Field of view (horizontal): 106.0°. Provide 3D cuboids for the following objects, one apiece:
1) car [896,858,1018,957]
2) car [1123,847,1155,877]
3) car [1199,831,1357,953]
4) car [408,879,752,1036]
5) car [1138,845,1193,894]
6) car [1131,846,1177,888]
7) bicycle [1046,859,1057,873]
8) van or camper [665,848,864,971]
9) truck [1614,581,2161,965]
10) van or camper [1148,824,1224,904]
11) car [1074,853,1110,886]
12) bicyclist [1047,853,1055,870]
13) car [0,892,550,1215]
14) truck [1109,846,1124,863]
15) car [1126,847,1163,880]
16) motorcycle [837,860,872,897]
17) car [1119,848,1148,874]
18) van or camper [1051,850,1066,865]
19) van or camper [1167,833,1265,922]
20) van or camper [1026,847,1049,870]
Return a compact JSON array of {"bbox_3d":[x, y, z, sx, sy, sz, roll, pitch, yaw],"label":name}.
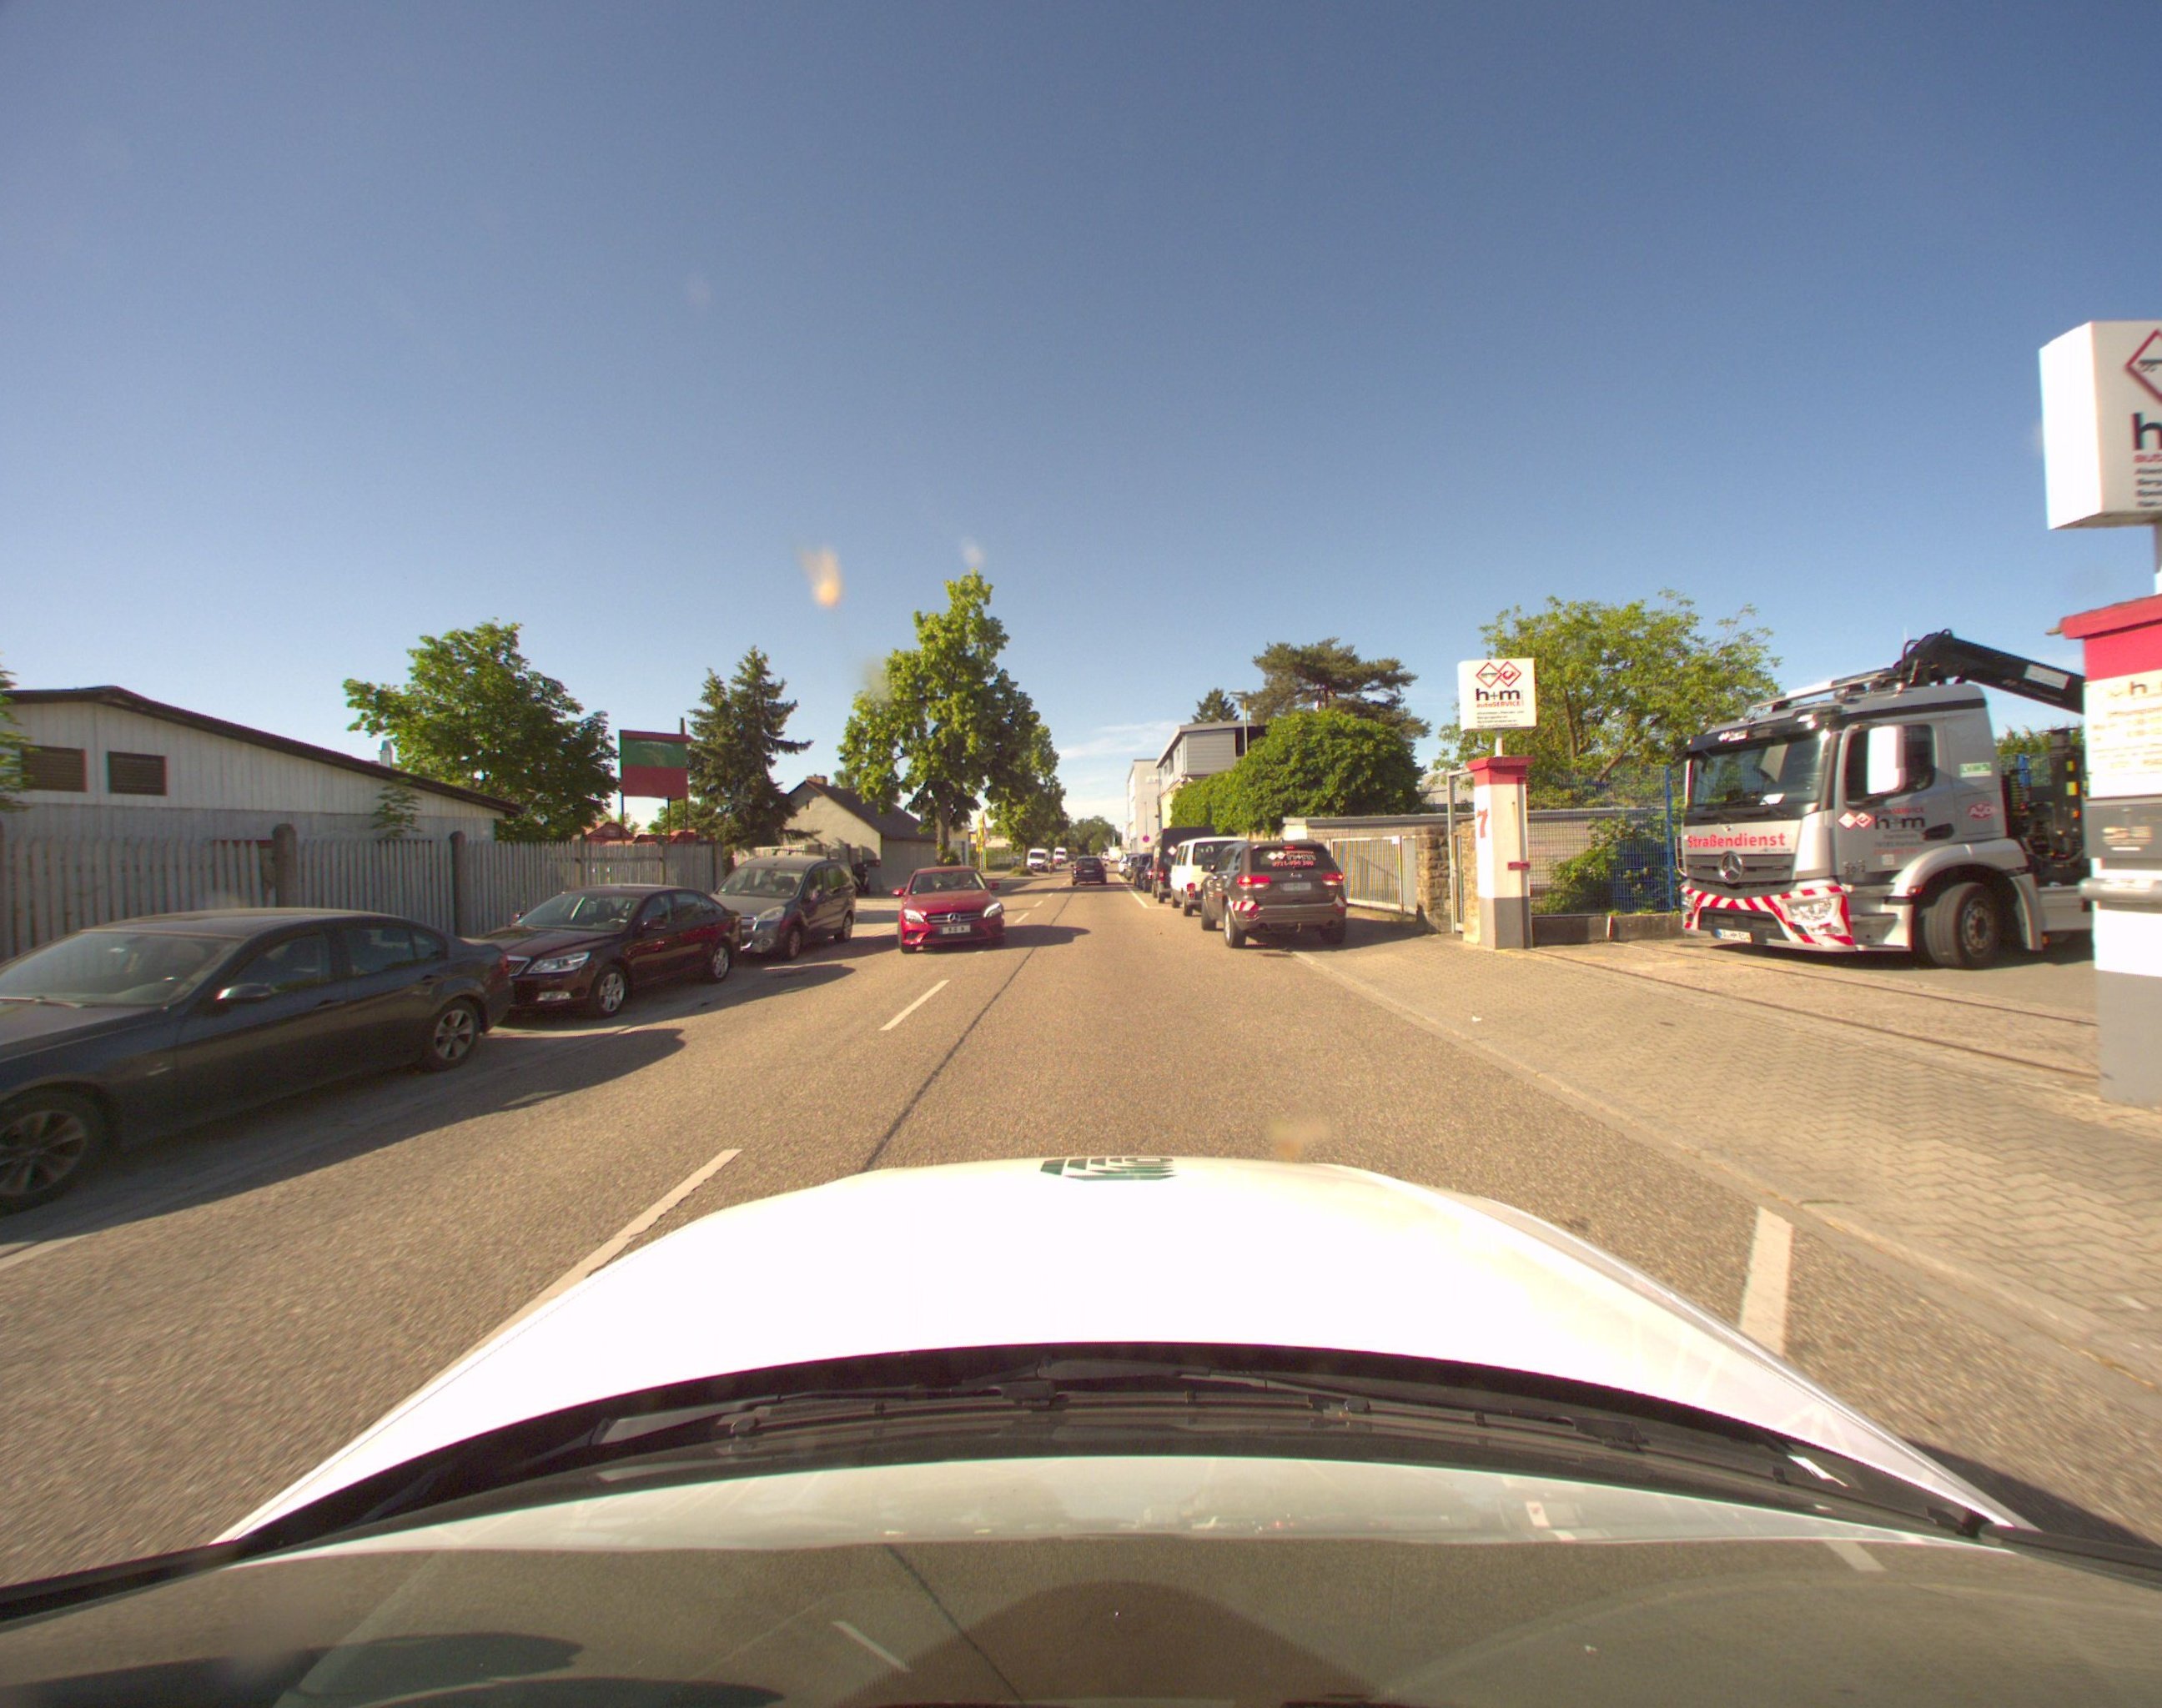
[{"bbox_3d":[-2.485,0.889,15.480,1.878,1.485,4.025,-3,1,-14],"label":"car"},{"bbox_3d":[3.787,0.476,53.564,1.912,1.825,4.081,-2,0,2],"label":"car"},{"bbox_3d":[3.337,0.584,14.636,1.912,1.825,4.081,-2,0,2],"label":"car"},{"bbox_3d":[-6.153,1.164,10.702,1.687,1.469,4.177,-2,0,4],"label":"car"},{"bbox_3d":[3.406,0.597,33.509,1.912,1.825,4.081,-2,0,2],"label":"car"},{"bbox_3d":[3.413,0.578,38.701,1.912,1.825,4.081,-2,0,2],"label":"car"},{"bbox_3d":[-2.687,1.076,74.263,0.826,1.153,2.940,-2,0,0],"label":"bicycle"},{"bbox_3d":[-5.784,0.929,15.535,1.883,1.926,4.269,-3,-1,2],"label":"van or camper"},{"bbox_3d":[10.940,-0.903,9.718,7.357,3.770,2.830,-2,0,-3],"label":"truck"},{"bbox_3d":[3.298,0.296,26.278,1.986,2.310,4.001,-2,0,2],"label":"van or camper"},{"bbox_3d":[0.607,0.756,41.988,1.705,1.532,3.690,-2,0,2],"label":"car"},{"bbox_3d":[-2.706,0.699,74.093,0.693,1.539,0.635,-2,0,-1],"label":"bicyclist"},{"bbox_3d":[-6.272,1.124,5.900,1.751,1.403,4.558,-2,0,1],"label":"car"},{"bbox_3d":[5.207,0.032,120.101,1.986,2.287,6.958,-2,0,2],"label":"truck"},{"bbox_3d":[3.722,0.518,48.392,1.912,1.825,4.081,-2,0,2],"label":"car"},{"bbox_3d":[-9.363,1.006,33.762,0.774,1.445,2.039,-2,0,2],"label":"motorcycle"},{"bbox_3d":[3.851,0.483,60.032,1.912,1.825,4.081,-2,0,2],"label":"car"},{"bbox_3d":[-3.813,0.518,137.095,2.317,2.362,6.522,-2,0,-2],"label":"van or camper"},{"bbox_3d":[3.384,0.535,21.088,1.912,2.019,4.081,-2,0,2],"label":"van or camper"},{"bbox_3d":[-4.664,0.479,87.877,2.317,2.362,6.522,-2,0,-2],"label":"van or camper"}]
